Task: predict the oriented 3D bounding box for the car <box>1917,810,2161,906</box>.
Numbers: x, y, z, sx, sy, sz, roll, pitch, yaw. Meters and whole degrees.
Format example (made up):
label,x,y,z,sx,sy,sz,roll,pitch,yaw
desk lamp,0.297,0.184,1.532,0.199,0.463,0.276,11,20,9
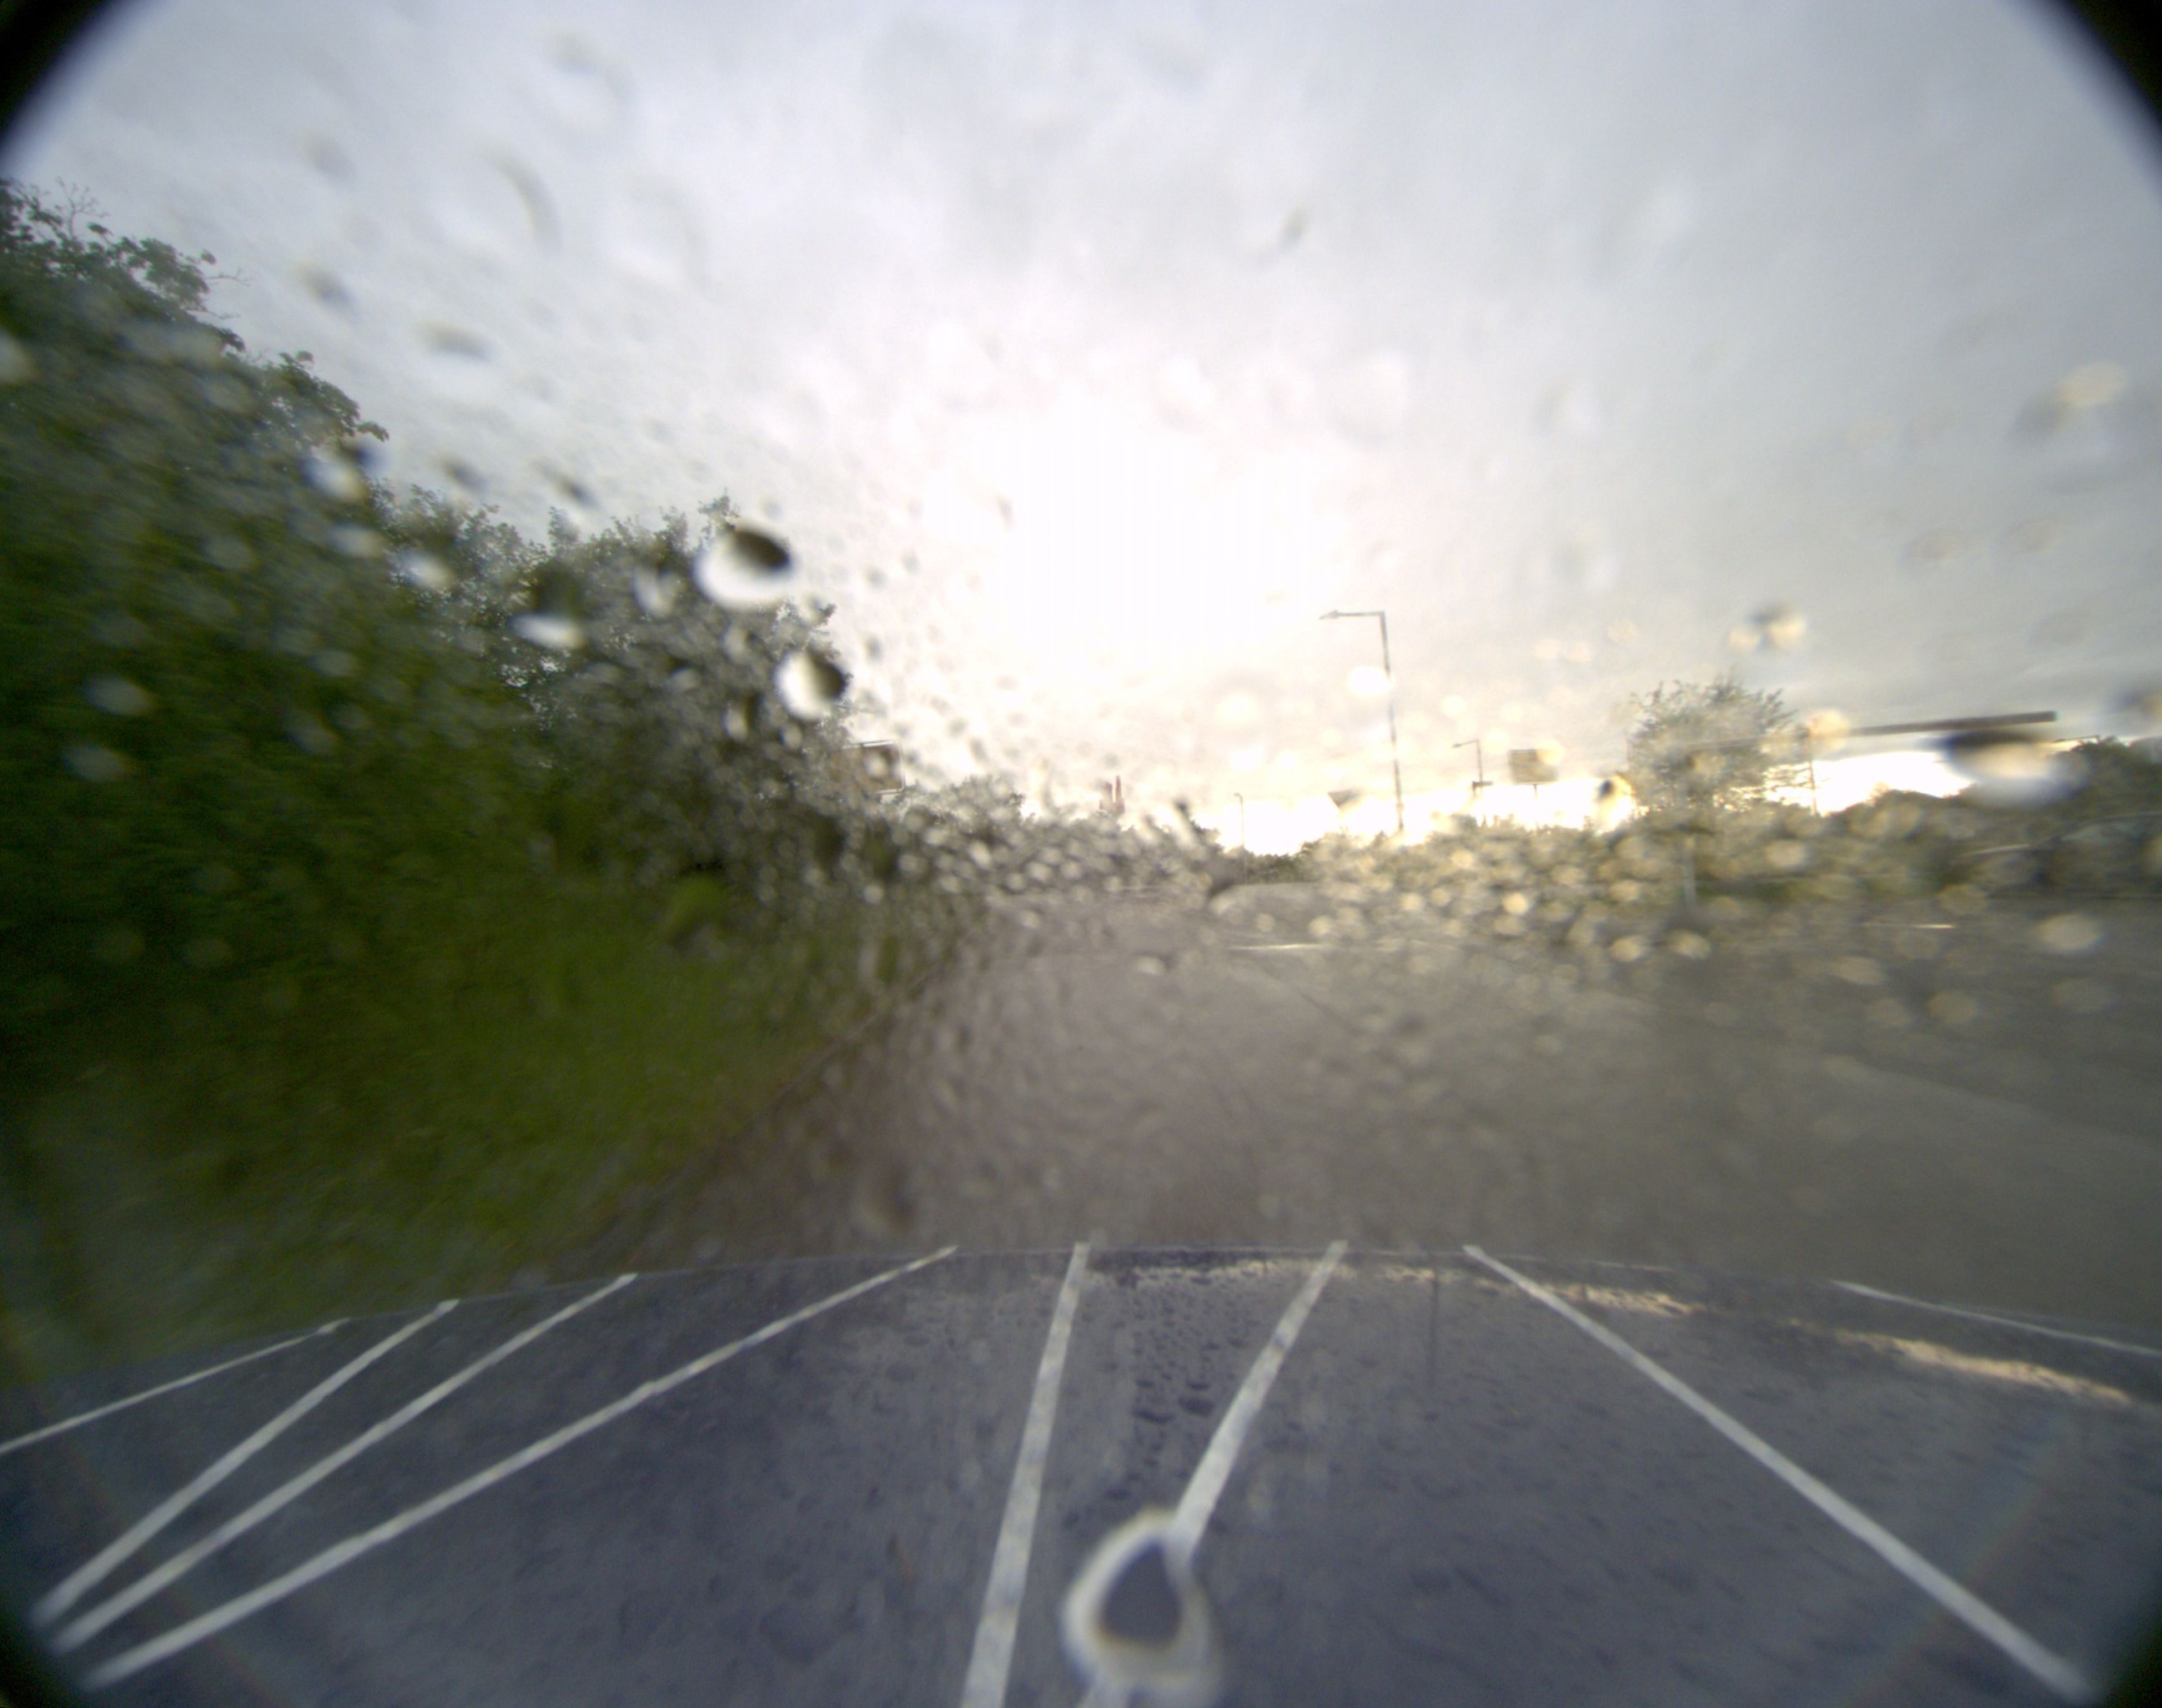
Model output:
label,x,y,z,sx,sy,sz,roll,pitch,yaw
car,16.718,0.041,11.959,1.999,1.406,4.427,-2,-1,-6
